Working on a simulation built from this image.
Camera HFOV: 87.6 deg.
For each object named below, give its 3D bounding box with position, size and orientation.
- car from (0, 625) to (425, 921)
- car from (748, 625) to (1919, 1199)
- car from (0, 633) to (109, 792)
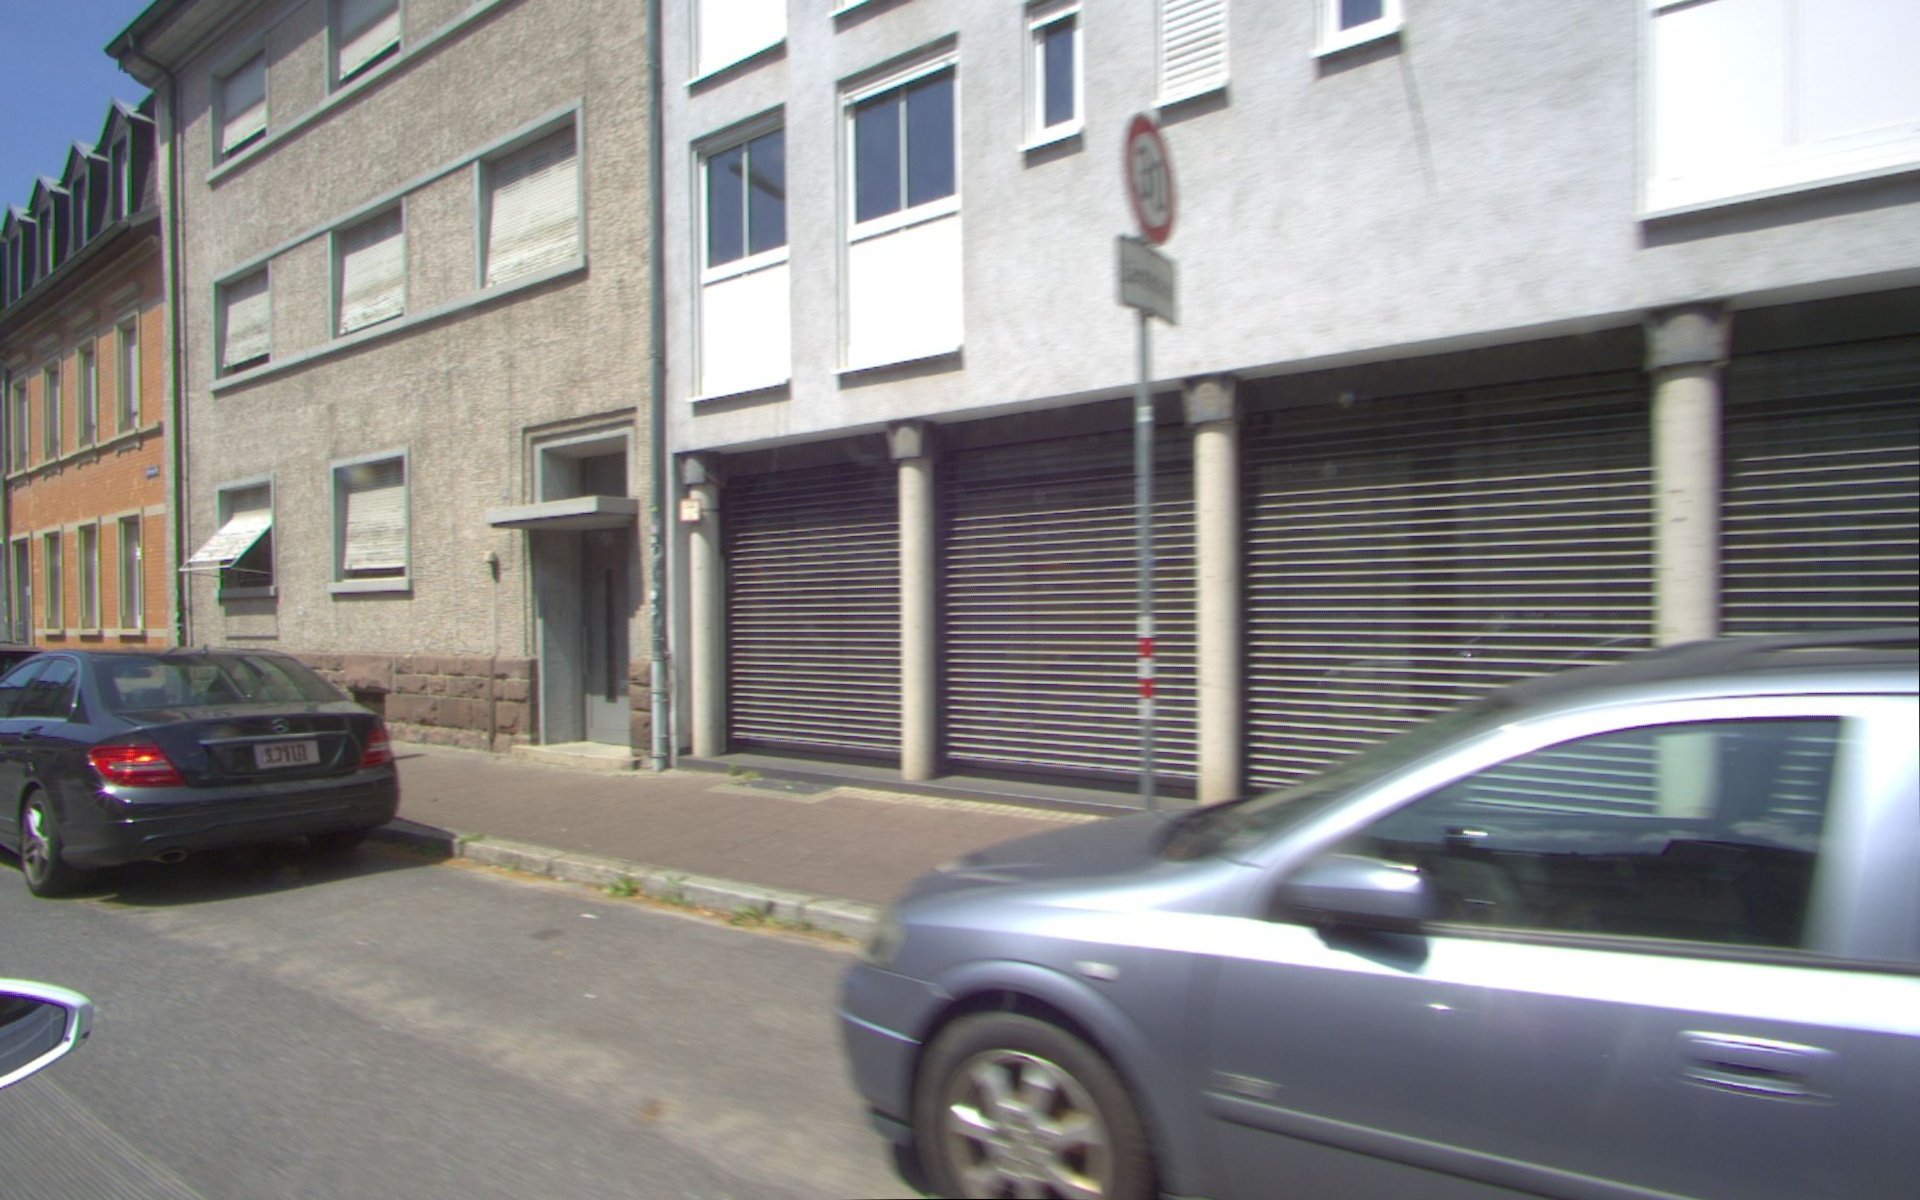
[{"bbox_3d":[-5.793,0.943,7.074,4.377,1.492,1.707,-1,-1,34],"label":"car"},{"bbox_3d":[1.607,0.809,2.323,4.083,1.473,1.675,-1,-2,31],"label":"car"},{"bbox_3d":[-10.460,1.065,10.123,3.989,1.438,1.649,-1,-1,31],"label":"car"}]
